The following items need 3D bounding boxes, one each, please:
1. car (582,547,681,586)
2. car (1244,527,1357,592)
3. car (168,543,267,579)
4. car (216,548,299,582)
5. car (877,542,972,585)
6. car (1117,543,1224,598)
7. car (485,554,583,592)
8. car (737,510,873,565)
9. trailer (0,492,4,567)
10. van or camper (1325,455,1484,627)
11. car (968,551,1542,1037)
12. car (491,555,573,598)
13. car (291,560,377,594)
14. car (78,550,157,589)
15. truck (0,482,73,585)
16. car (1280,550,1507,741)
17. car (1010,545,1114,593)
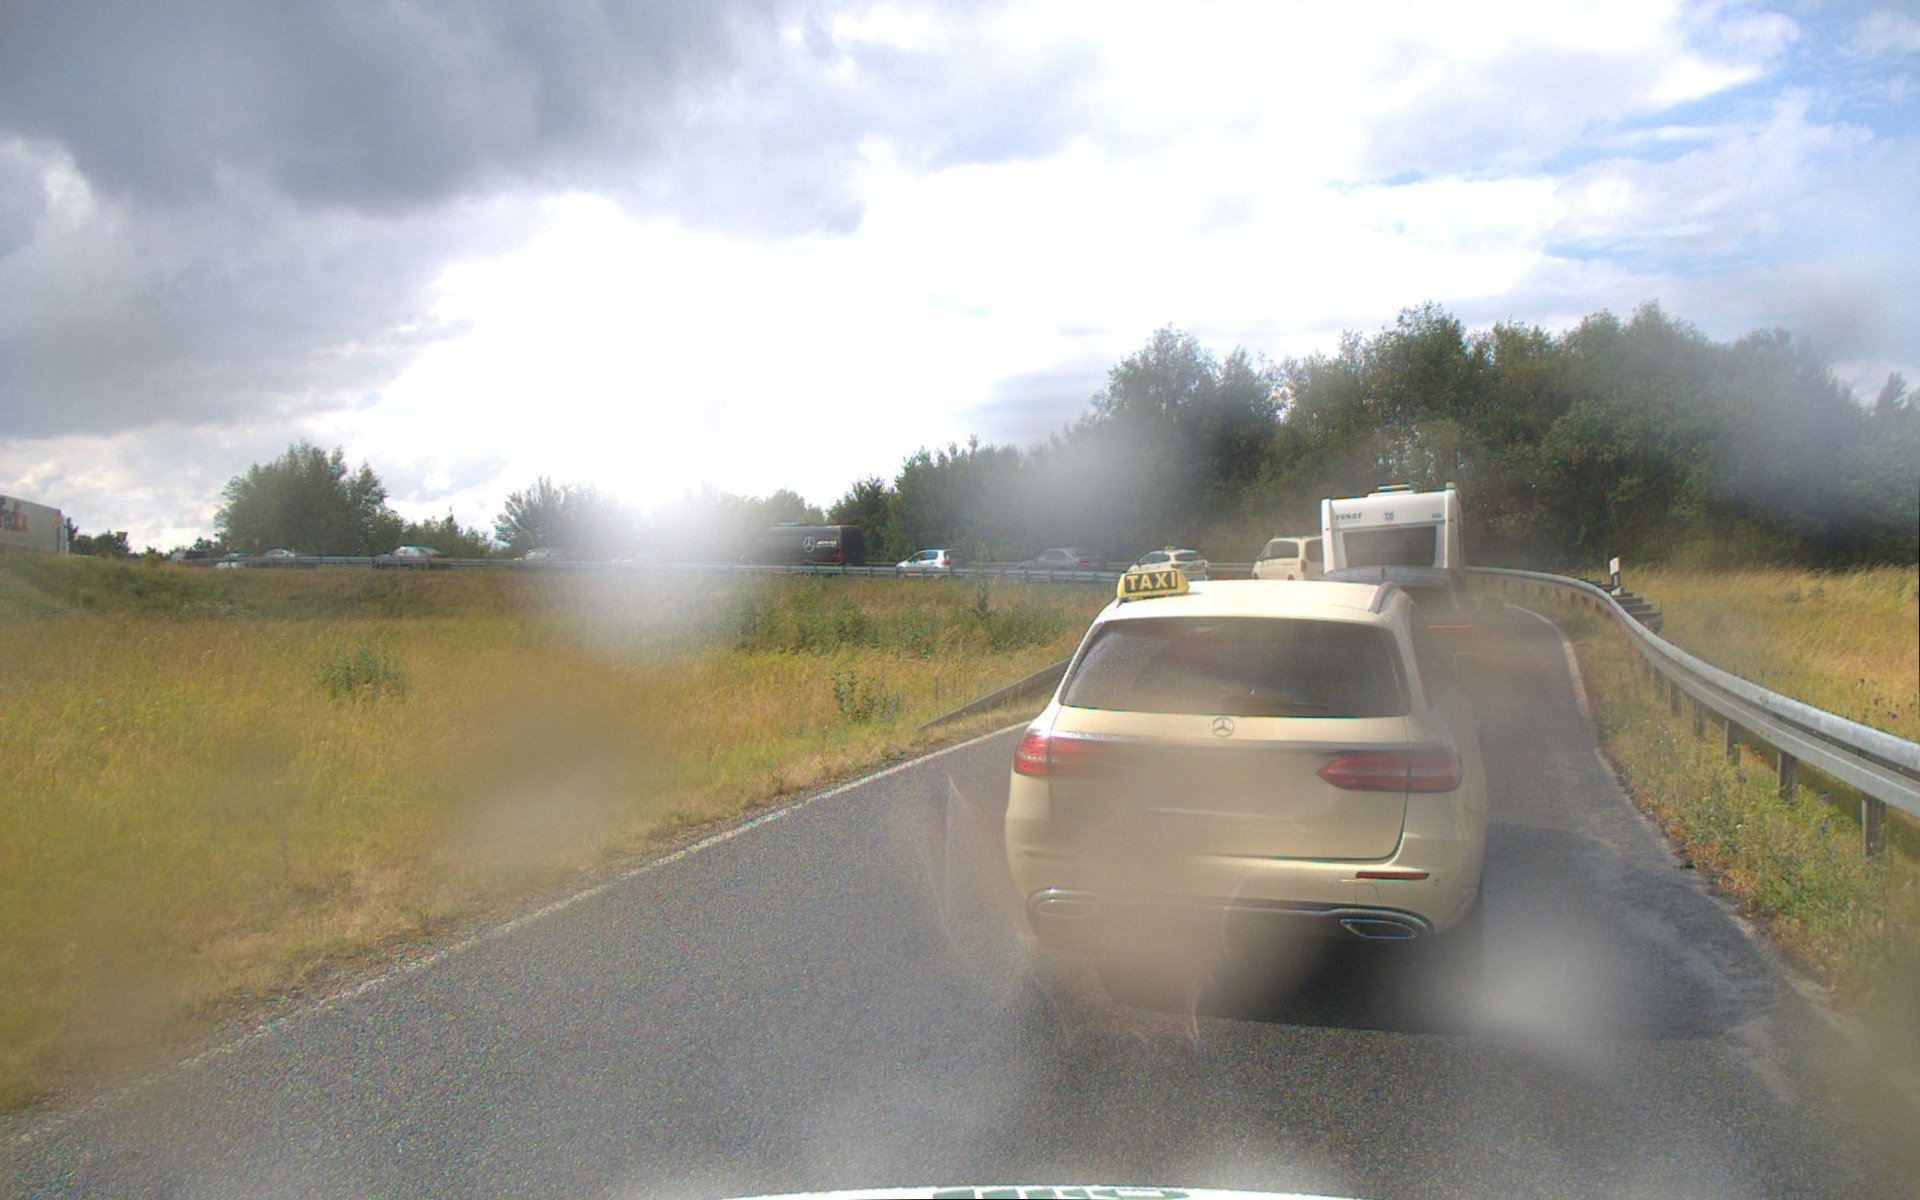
[{"bbox_3d":[-17.966,-1.826,90.381,4.936,1.894,2.001,-2,-1,20],"label":"car"},{"bbox_3d":[10.947,-1.264,53.525,1.956,1.894,5.047,-2,0,-8],"label":"car"},{"bbox_3d":[-43.814,-2.285,97.645,4.936,1.894,2.001,-2,-1,2],"label":"car"},{"bbox_3d":[-44.564,-2.199,104.903,4.938,1.894,1.999,-2,-1,23],"label":"car"},{"bbox_3d":[-1.781,-1.766,80.689,1.981,1.894,4.986,-1,-1,-39],"label":"car"},{"bbox_3d":[8.028,-1.093,63.677,1.964,1.893,5.028,-3,0,-19],"label":"car"},{"bbox_3d":[-23.920,-1.505,92.867,4.933,1.894,2.001,-2,-1,14],"label":"car"},{"bbox_3d":[-8.059,-3.196,85.760,6.845,2.640,2.864,0,1,36],"label":"car"},{"bbox_3d":[-50.758,-4.226,79.389,4.346,4.025,20.107,0,-3,-18],"label":"trailer"},{"bbox_3d":[8.158,-0.992,29.943,2.380,2.777,6.004,0,1,19],"label":"van or camper"},{"bbox_3d":[1.569,0.557,7.708,1.875,1.533,4.599,1,1,16],"label":"car"},{"bbox_3d":[-23.911,-1.287,92.341,3.908,2.047,2.001,-2,6,25],"label":"car"},{"bbox_3d":[-37.728,-1.373,99.729,4.400,1.894,2.001,-2,-1,7],"label":"car"},{"bbox_3d":[-48.118,-1.712,94.532,3.935,2.049,1.812,0,-3,-25],"label":"car"},{"bbox_3d":[-56.809,-3.684,97.811,4.392,4.582,19.269,0,-3,-18],"label":"truck"},{"bbox_3d":[4.208,0.366,15.629,1.682,1.551,4.001,-1,0,20],"label":"car"},{"bbox_3d":[4.443,-1.334,72.797,1.975,1.894,4.999,-1,-1,-33],"label":"car"}]
